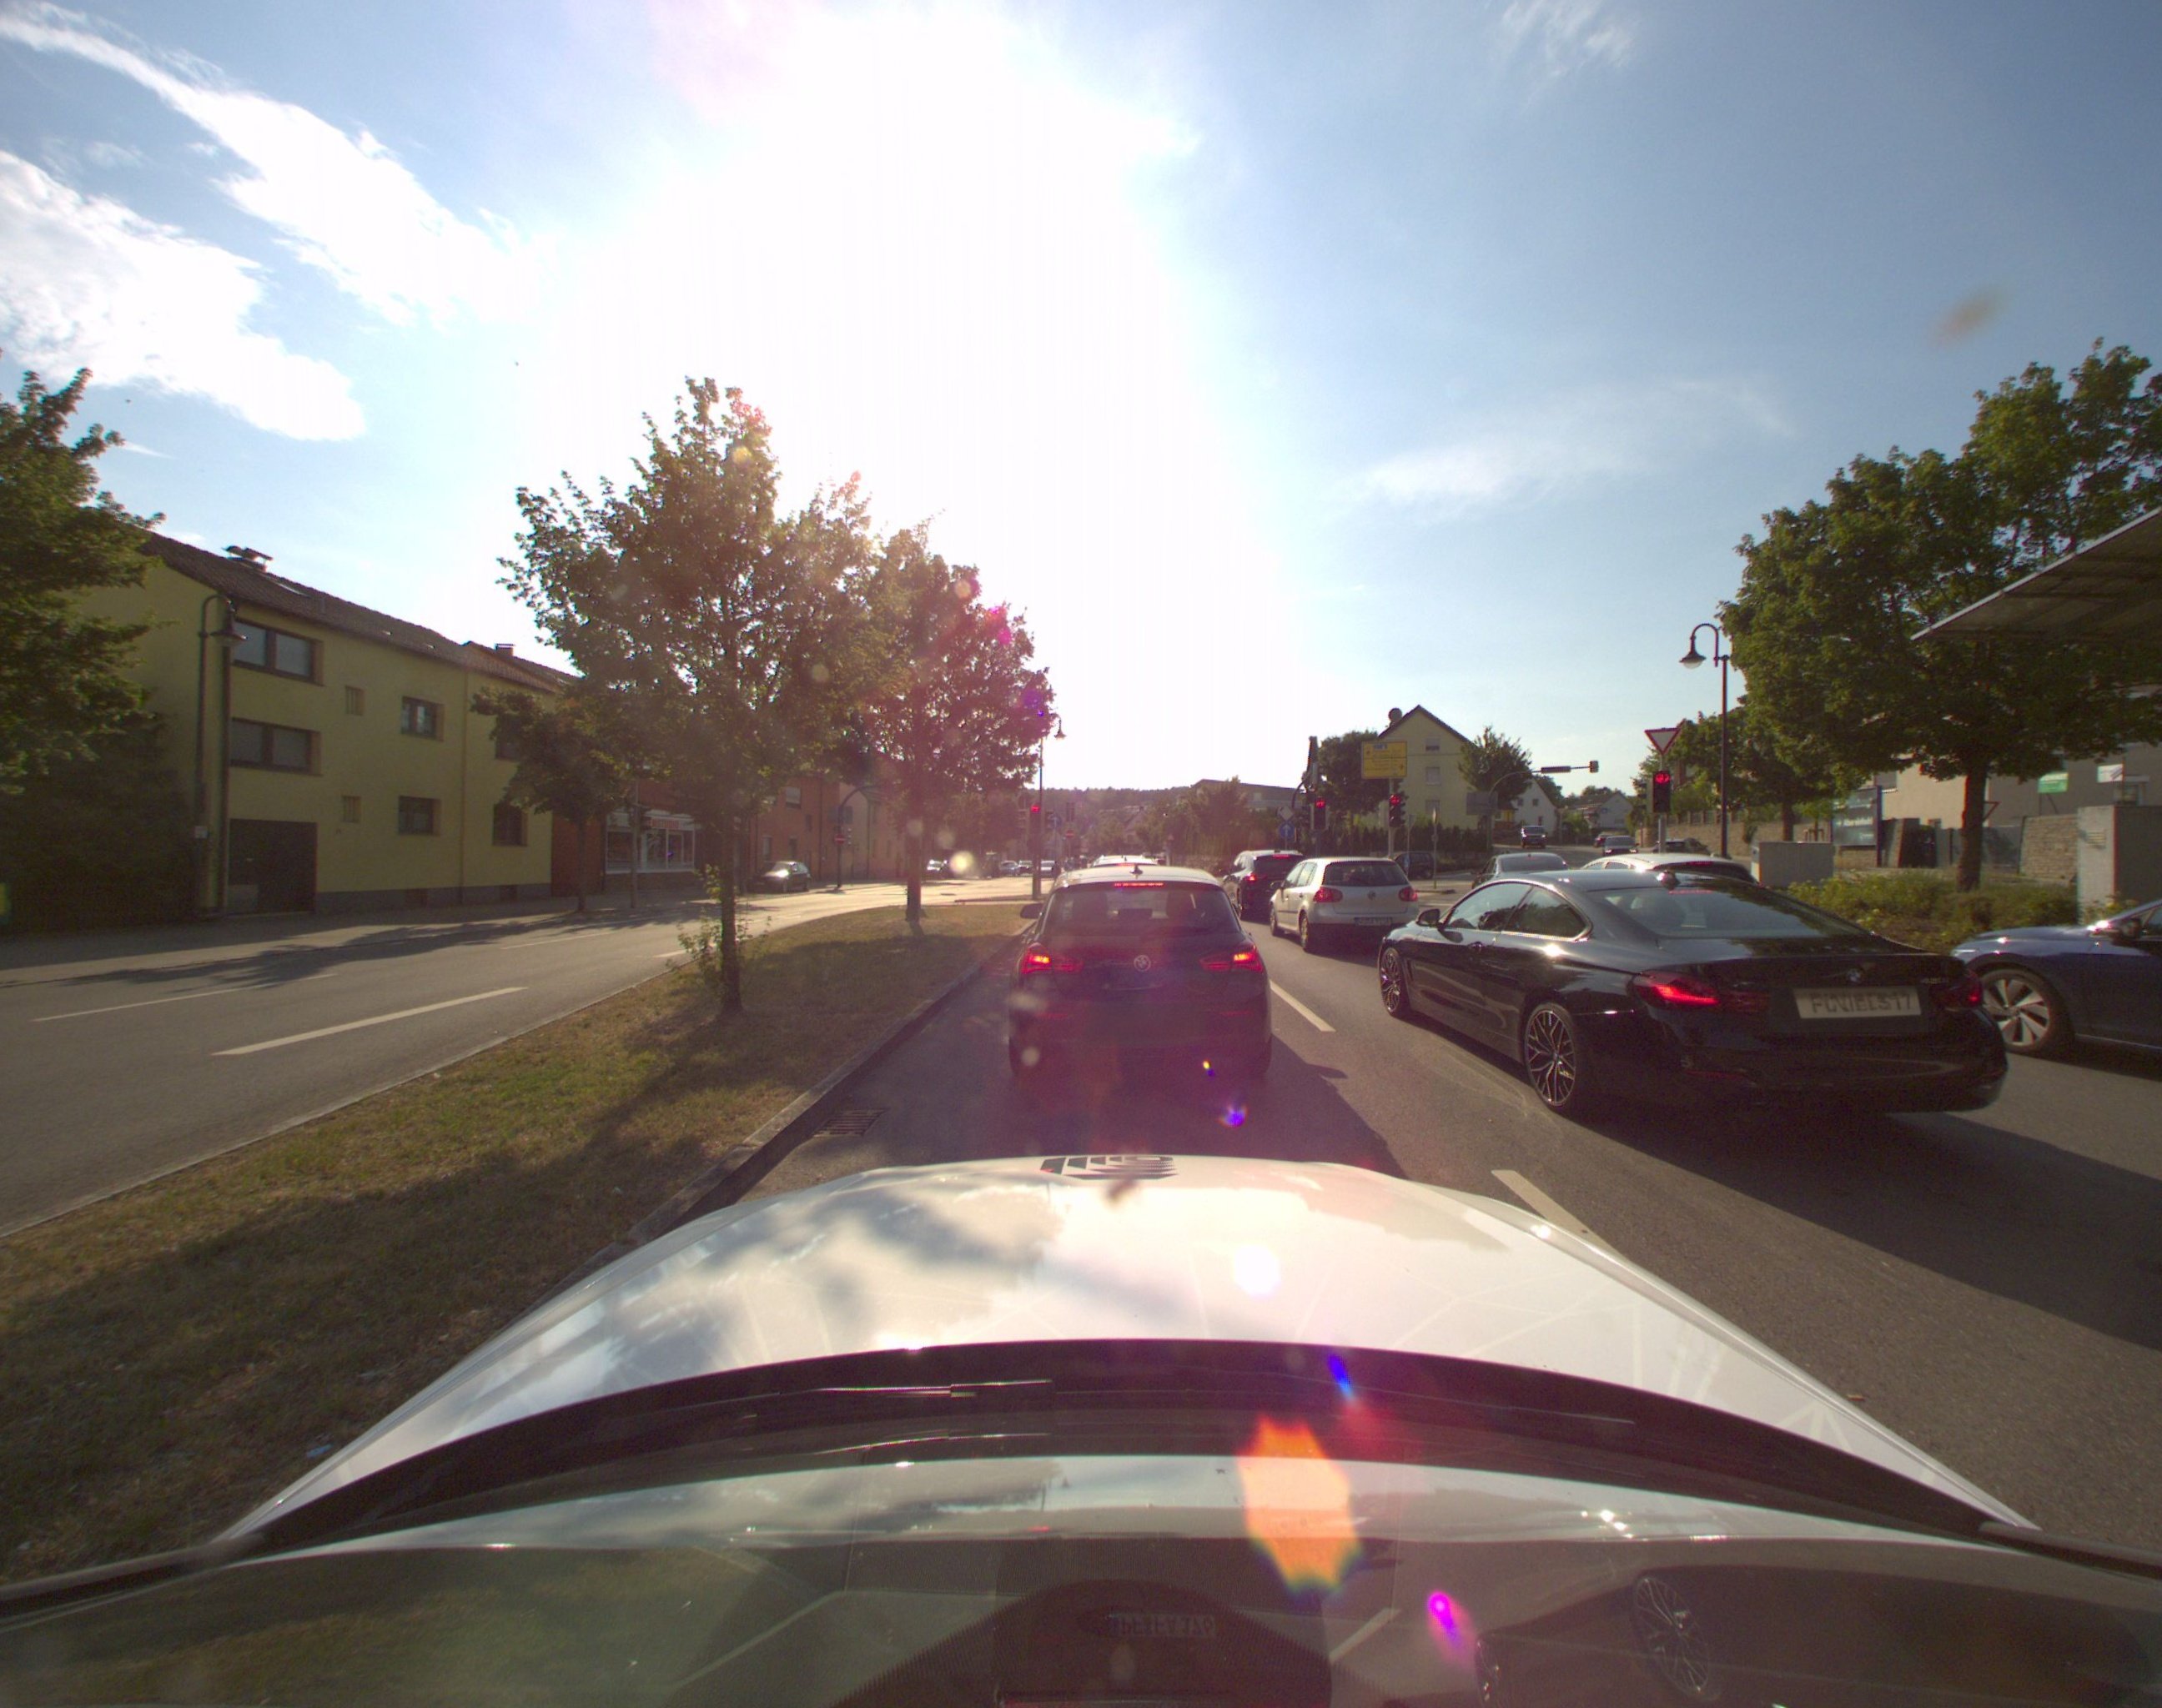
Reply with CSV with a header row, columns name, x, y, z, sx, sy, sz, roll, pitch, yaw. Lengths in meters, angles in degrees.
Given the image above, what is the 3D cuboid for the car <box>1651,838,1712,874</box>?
name,x,y,z,sx,sy,sz,roll,pitch,yaw
car,30.111,0.100,40.796,1.946,1.680,4.240,-2,0,43

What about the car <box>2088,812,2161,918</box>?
name,x,y,z,sx,sy,sz,roll,pitch,yaw
car,18.497,0.159,12.374,3.793,1.632,1.784,0,0,10

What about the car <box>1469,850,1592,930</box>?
name,x,y,z,sx,sy,sz,roll,pitch,yaw
car,9.886,0.713,18.227,1.642,1.542,4.420,-2,0,19

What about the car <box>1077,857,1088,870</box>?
name,x,y,z,sx,sy,sz,roll,pitch,yaw
car,0.292,1.901,163.611,2.076,2.394,5.531,0,-1,2

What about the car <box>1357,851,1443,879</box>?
name,x,y,z,sx,sy,sz,roll,pitch,yaw
car,17.351,0.572,44.348,3.974,1.489,1.848,0,0,-1

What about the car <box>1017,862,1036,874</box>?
name,x,y,z,sx,sy,sz,roll,pitch,yaw
car,-6.579,1.666,98.680,1.729,1.301,3.804,4,0,5

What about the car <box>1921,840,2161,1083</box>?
name,x,y,z,sx,sy,sz,roll,pitch,yaw
car,7.445,0.649,4.281,1.754,1.453,4.323,-2,0,4

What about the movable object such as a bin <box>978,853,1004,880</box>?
name,x,y,z,sx,sy,sz,roll,pitch,yaw
movable object such as a bin,-8.355,1.145,75.912,1.729,2.442,4.452,-1,0,3

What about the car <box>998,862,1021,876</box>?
name,x,y,z,sx,sy,sz,roll,pitch,yaw
car,-7.550,1.575,86.099,1.729,1.301,3.804,4,0,5

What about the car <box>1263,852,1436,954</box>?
name,x,y,z,sx,sy,sz,roll,pitch,yaw
car,4.325,0.714,13.752,1.755,1.426,3.905,-2,0,2

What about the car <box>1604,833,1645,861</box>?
name,x,y,z,sx,sy,sz,roll,pitch,yaw
car,33.491,-0.432,50.275,1.824,1.641,4.458,0,0,31

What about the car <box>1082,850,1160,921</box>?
name,x,y,z,sx,sy,sz,roll,pitch,yaw
car,1.024,0.738,21.140,1.781,1.594,4.283,-2,0,2

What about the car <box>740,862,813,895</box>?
name,x,y,z,sx,sy,sz,roll,pitch,yaw
car,-14.133,1.109,38.023,1.730,1.301,4.002,4,0,2

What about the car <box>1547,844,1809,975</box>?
name,x,y,z,sx,sy,sz,roll,pitch,yaw
car,8.114,0.670,11.454,1.608,1.542,3.326,-2,0,9

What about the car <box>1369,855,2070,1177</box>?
name,x,y,z,sx,sy,sz,roll,pitch,yaw
car,3.623,0.737,5.812,1.755,1.397,4.283,-2,0,2

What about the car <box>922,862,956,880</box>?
name,x,y,z,sx,sy,sz,roll,pitch,yaw
car,-11.737,1.421,67.585,1.728,1.301,4.006,4,0,6

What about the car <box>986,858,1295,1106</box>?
name,x,y,z,sx,sy,sz,roll,pitch,yaw
car,0.445,0.770,6.957,1.781,1.397,4.283,-2,0,2

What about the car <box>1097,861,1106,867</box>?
name,x,y,z,sx,sy,sz,roll,pitch,yaw
car,4.655,2.249,181.266,1.729,1.301,3.804,4,0,5

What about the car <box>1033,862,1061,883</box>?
name,x,y,z,sx,sy,sz,roll,pitch,yaw
car,-2.628,1.420,63.594,1.831,1.482,4.003,-1,0,3

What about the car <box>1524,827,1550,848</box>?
name,x,y,z,sx,sy,sz,roll,pitch,yaw
car,40.688,-1.456,72.748,1.825,1.739,4.813,0,0,26

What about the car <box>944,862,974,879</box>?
name,x,y,z,sx,sy,sz,roll,pitch,yaw
car,-11.040,1.467,73.847,1.729,1.301,4.005,4,0,5

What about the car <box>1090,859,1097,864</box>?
name,x,y,z,sx,sy,sz,roll,pitch,yaw
car,3.804,2.257,240.865,1.729,1.301,3.804,4,0,5

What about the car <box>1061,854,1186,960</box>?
name,x,y,z,sx,sy,sz,roll,pitch,yaw
car,0.723,0.778,14.101,1.781,1.494,4.283,-2,0,2

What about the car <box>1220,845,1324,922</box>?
name,x,y,z,sx,sy,sz,roll,pitch,yaw
car,4.573,0.648,20.034,1.755,1.656,3.905,-2,0,2

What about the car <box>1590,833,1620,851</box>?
name,x,y,z,sx,sy,sz,roll,pitch,yaw
car,52.265,-1.189,81.324,1.947,1.680,4.240,-2,0,26
